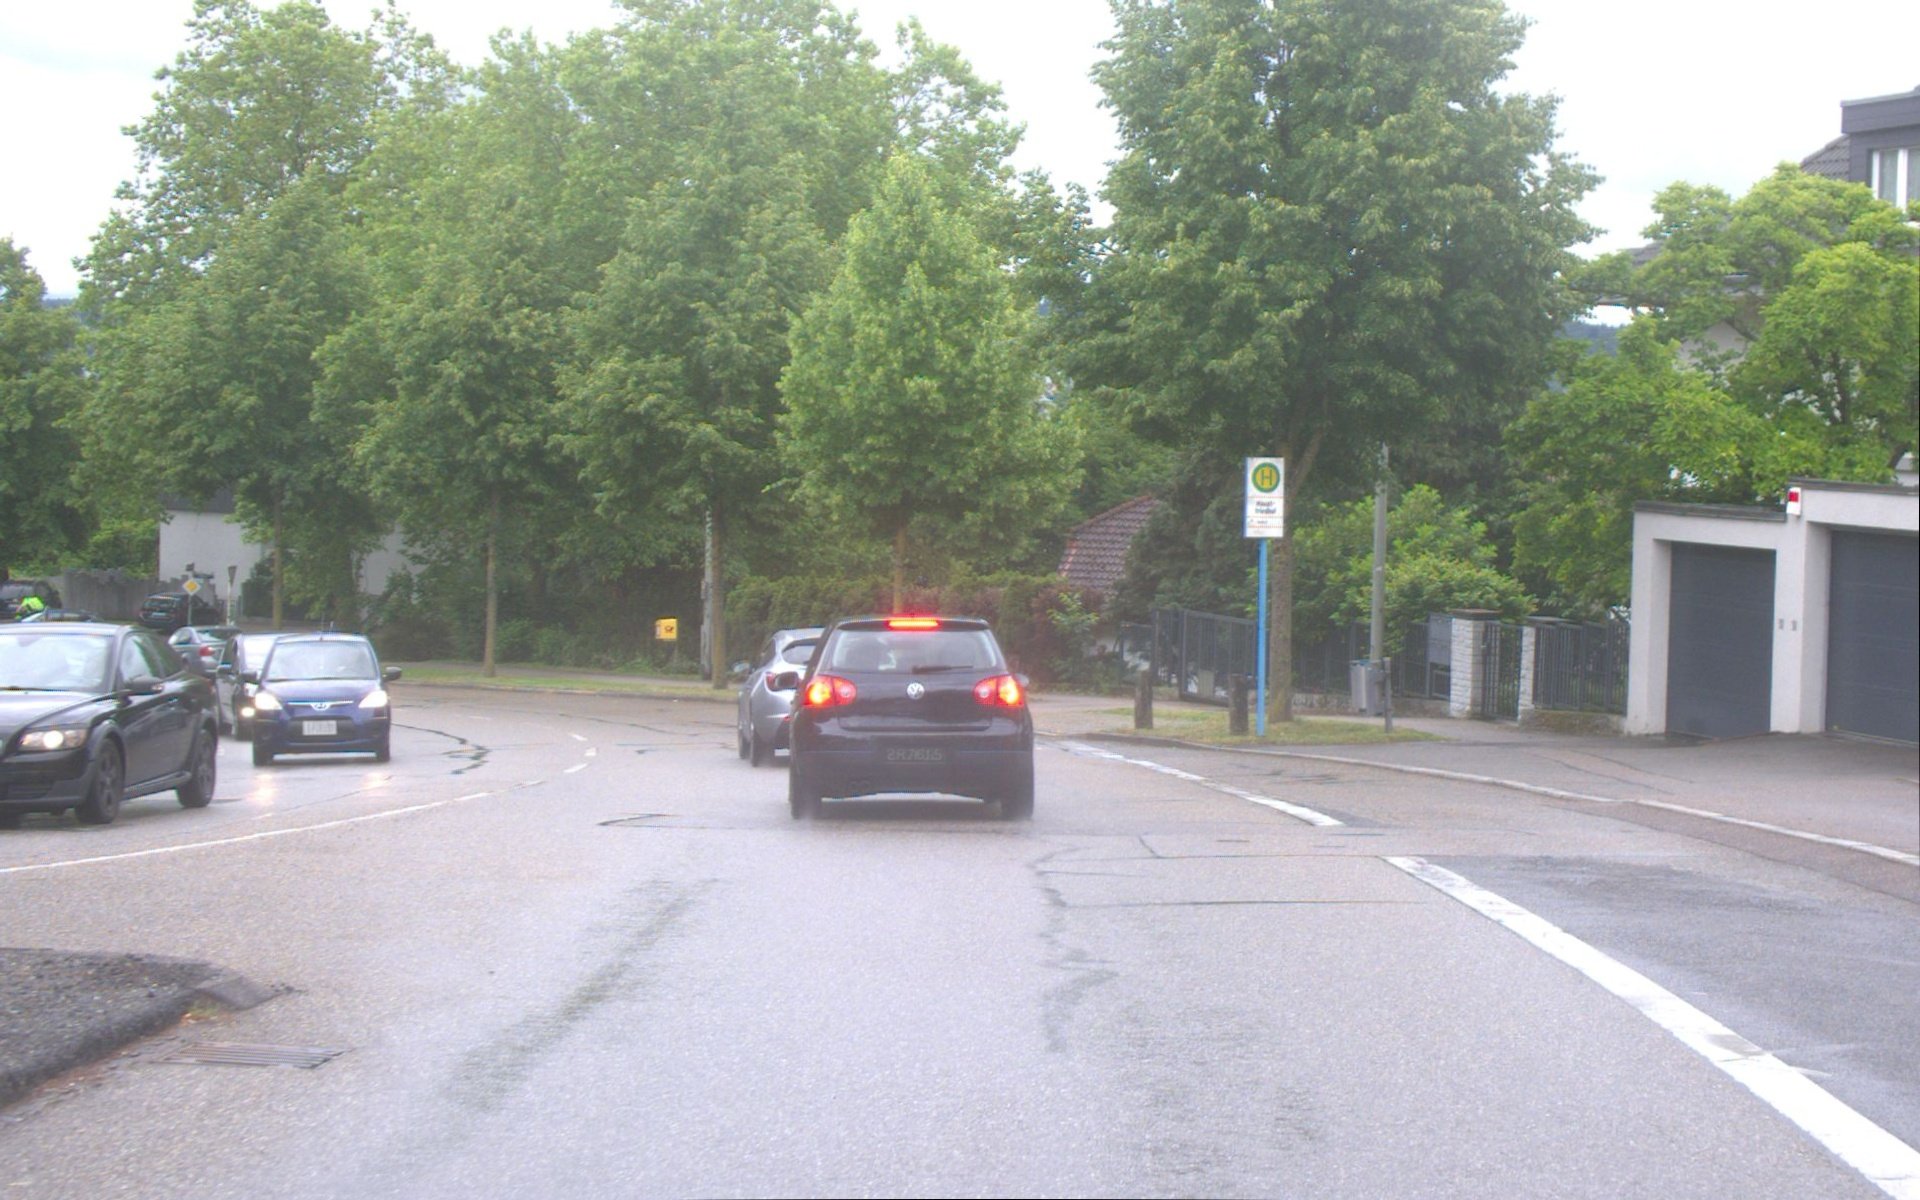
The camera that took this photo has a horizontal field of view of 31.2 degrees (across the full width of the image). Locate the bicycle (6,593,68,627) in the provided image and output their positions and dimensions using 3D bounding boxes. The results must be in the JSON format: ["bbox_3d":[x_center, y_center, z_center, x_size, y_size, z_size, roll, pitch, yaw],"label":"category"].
[{"bbox_3d":[-31.852,0.352,118.622,2.030,1.151,0.855,0,0,-17],"label":"bicycle"}]

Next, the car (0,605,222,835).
[{"bbox_3d":[-6.695,0.799,24.962,1.790,1.442,4.403,0,1,-1],"label":"car"}]

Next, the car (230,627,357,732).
[{"bbox_3d":[-10.425,1.216,53.989,1.810,1.571,4.687,0,0,-9],"label":"car"}]

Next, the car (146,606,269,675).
[{"bbox_3d":[-18.080,0.959,82.485,1.721,1.459,4.000,3,-1,-29],"label":"car"}]

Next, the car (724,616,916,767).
[{"bbox_3d":[-1.576,0.950,37.432,1.754,1.459,4.001,0,1,-7],"label":"car"}]

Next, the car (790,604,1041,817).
[{"bbox_3d":[-0.371,0.776,25.682,1.721,1.459,4.000,0,0,-2],"label":"car"}]

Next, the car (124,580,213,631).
[{"bbox_3d":[-28.776,0.187,125.125,1.751,1.464,4.565,3,4,6],"label":"car"}]

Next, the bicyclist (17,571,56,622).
[{"bbox_3d":[-31.864,-0.134,118.621,1.281,1.749,0.855,0,0,-17],"label":"bicyclist"}]

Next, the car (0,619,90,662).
[{"bbox_3d":[-30.896,1.328,113.467,4.125,1.379,1.727,0,-1,-17],"label":"car"}]

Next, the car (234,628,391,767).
[{"bbox_3d":[-7.733,1.125,41.320,1.721,1.459,4.378,0,1,-9],"label":"car"}]

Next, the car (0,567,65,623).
[{"bbox_3d":[-34.116,-0.185,125.239,1.947,1.683,4.905,2,3,-3],"label":"car"}]
